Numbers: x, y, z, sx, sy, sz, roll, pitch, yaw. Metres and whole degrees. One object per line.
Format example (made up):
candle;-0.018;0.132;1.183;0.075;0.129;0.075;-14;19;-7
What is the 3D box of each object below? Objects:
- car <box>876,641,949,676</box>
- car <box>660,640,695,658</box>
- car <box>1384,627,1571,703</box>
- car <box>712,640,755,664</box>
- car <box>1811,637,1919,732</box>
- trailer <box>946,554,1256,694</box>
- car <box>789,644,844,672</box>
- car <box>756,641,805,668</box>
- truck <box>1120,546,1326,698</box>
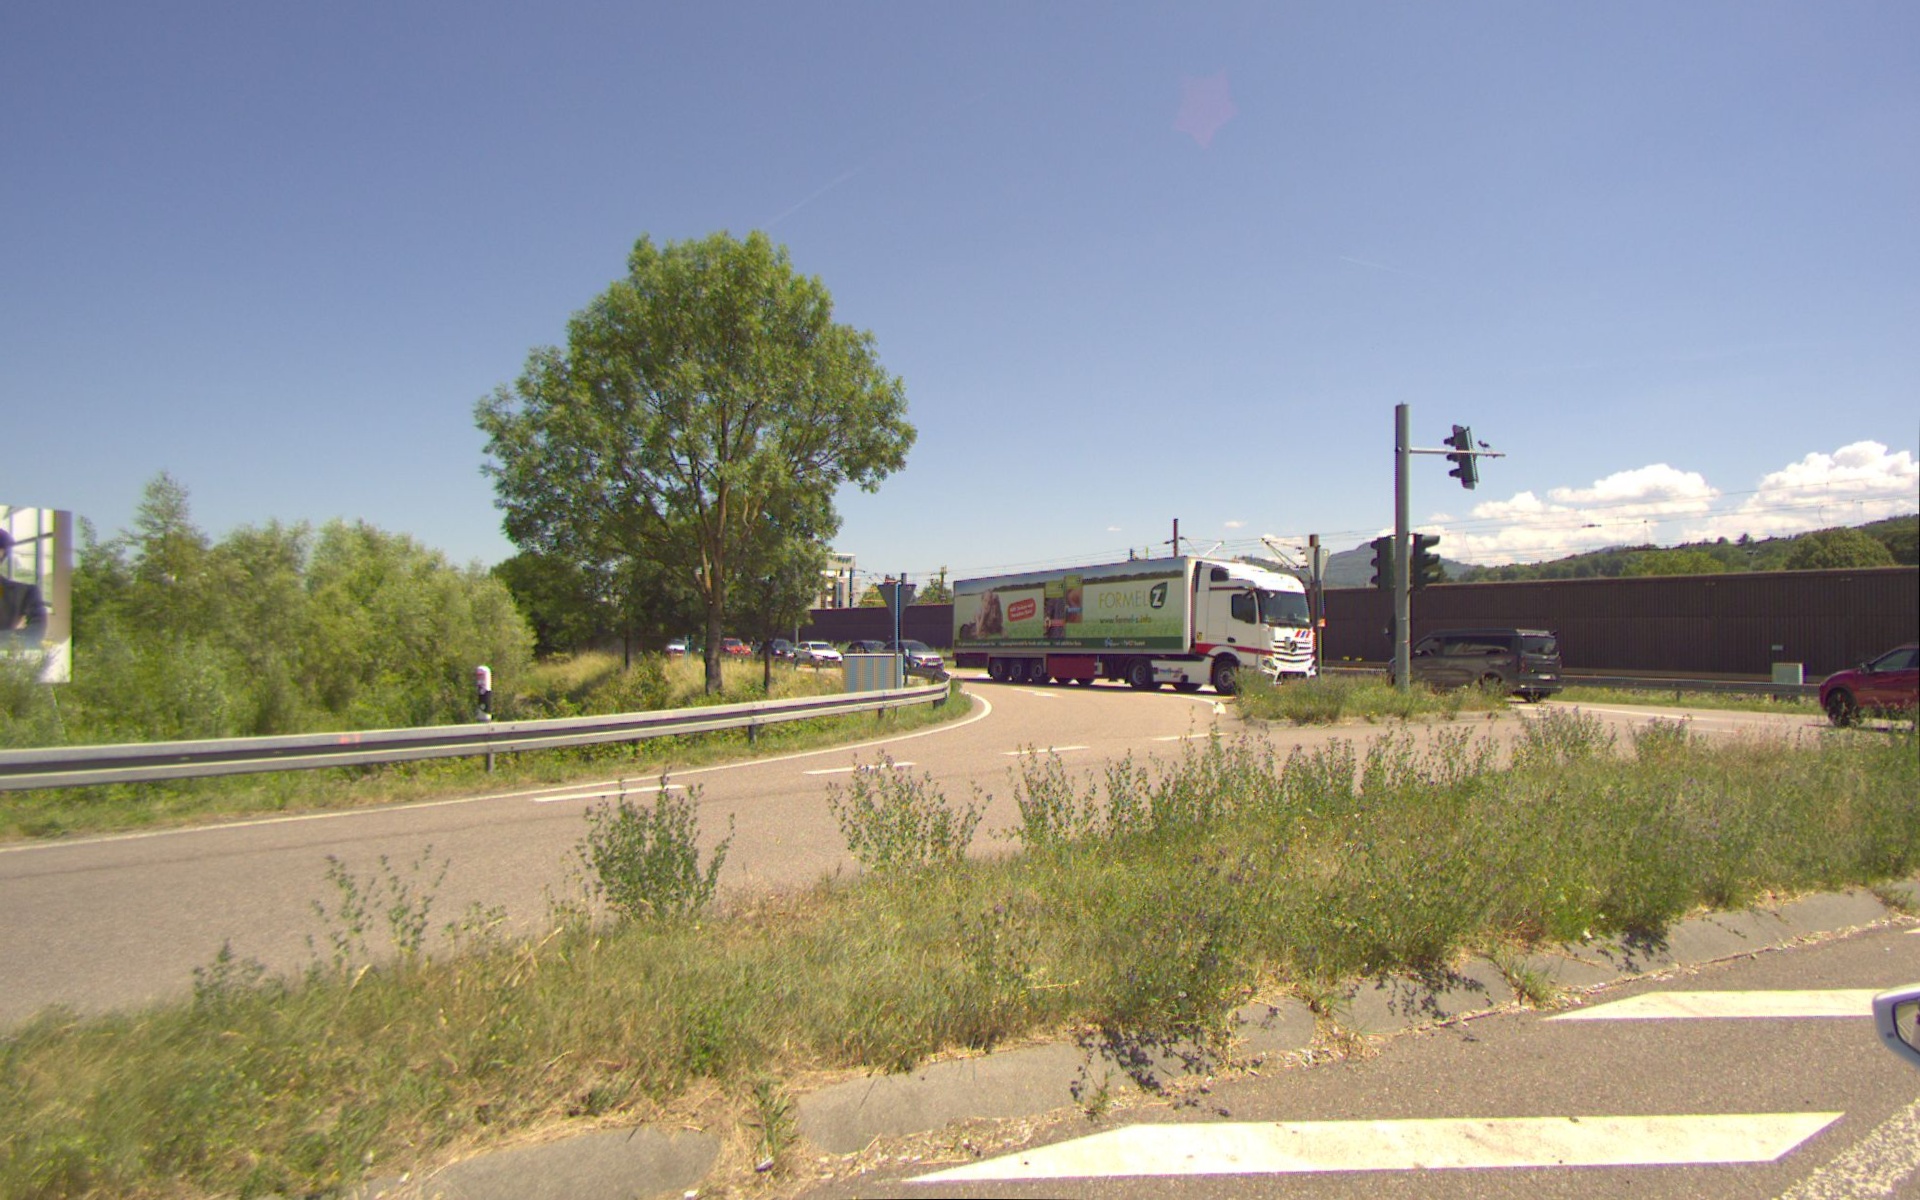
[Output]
car;-2.273;2.725;47.316;1.698;1.582;4.120;2;-3;-31
car;-23.733;4.101;84.310;1.672;1.478;4.578;3;-4;-31
car;15.237;1.893;29.881;1.987;2.048;4.753;2;-3;-25
car;-16.167;3.697;71.598;1.741;1.653;4.245;3;-3;-30
car;18.070;1.558;18.422;1.873;1.671;4.145;1;-3;9
trailer;4.262;1.011;35.988;2.669;4.097;14.004;3;-4;-32
car;-8.432;3.372;58.802;1.639;1.498;4.595;3;-3;-29
car;-11.614;3.491;64.885;1.702;1.610;4.499;3;-3;-30
truck;7.772;0.764;30.303;2.669;4.097;5.776;3;-4;-32
